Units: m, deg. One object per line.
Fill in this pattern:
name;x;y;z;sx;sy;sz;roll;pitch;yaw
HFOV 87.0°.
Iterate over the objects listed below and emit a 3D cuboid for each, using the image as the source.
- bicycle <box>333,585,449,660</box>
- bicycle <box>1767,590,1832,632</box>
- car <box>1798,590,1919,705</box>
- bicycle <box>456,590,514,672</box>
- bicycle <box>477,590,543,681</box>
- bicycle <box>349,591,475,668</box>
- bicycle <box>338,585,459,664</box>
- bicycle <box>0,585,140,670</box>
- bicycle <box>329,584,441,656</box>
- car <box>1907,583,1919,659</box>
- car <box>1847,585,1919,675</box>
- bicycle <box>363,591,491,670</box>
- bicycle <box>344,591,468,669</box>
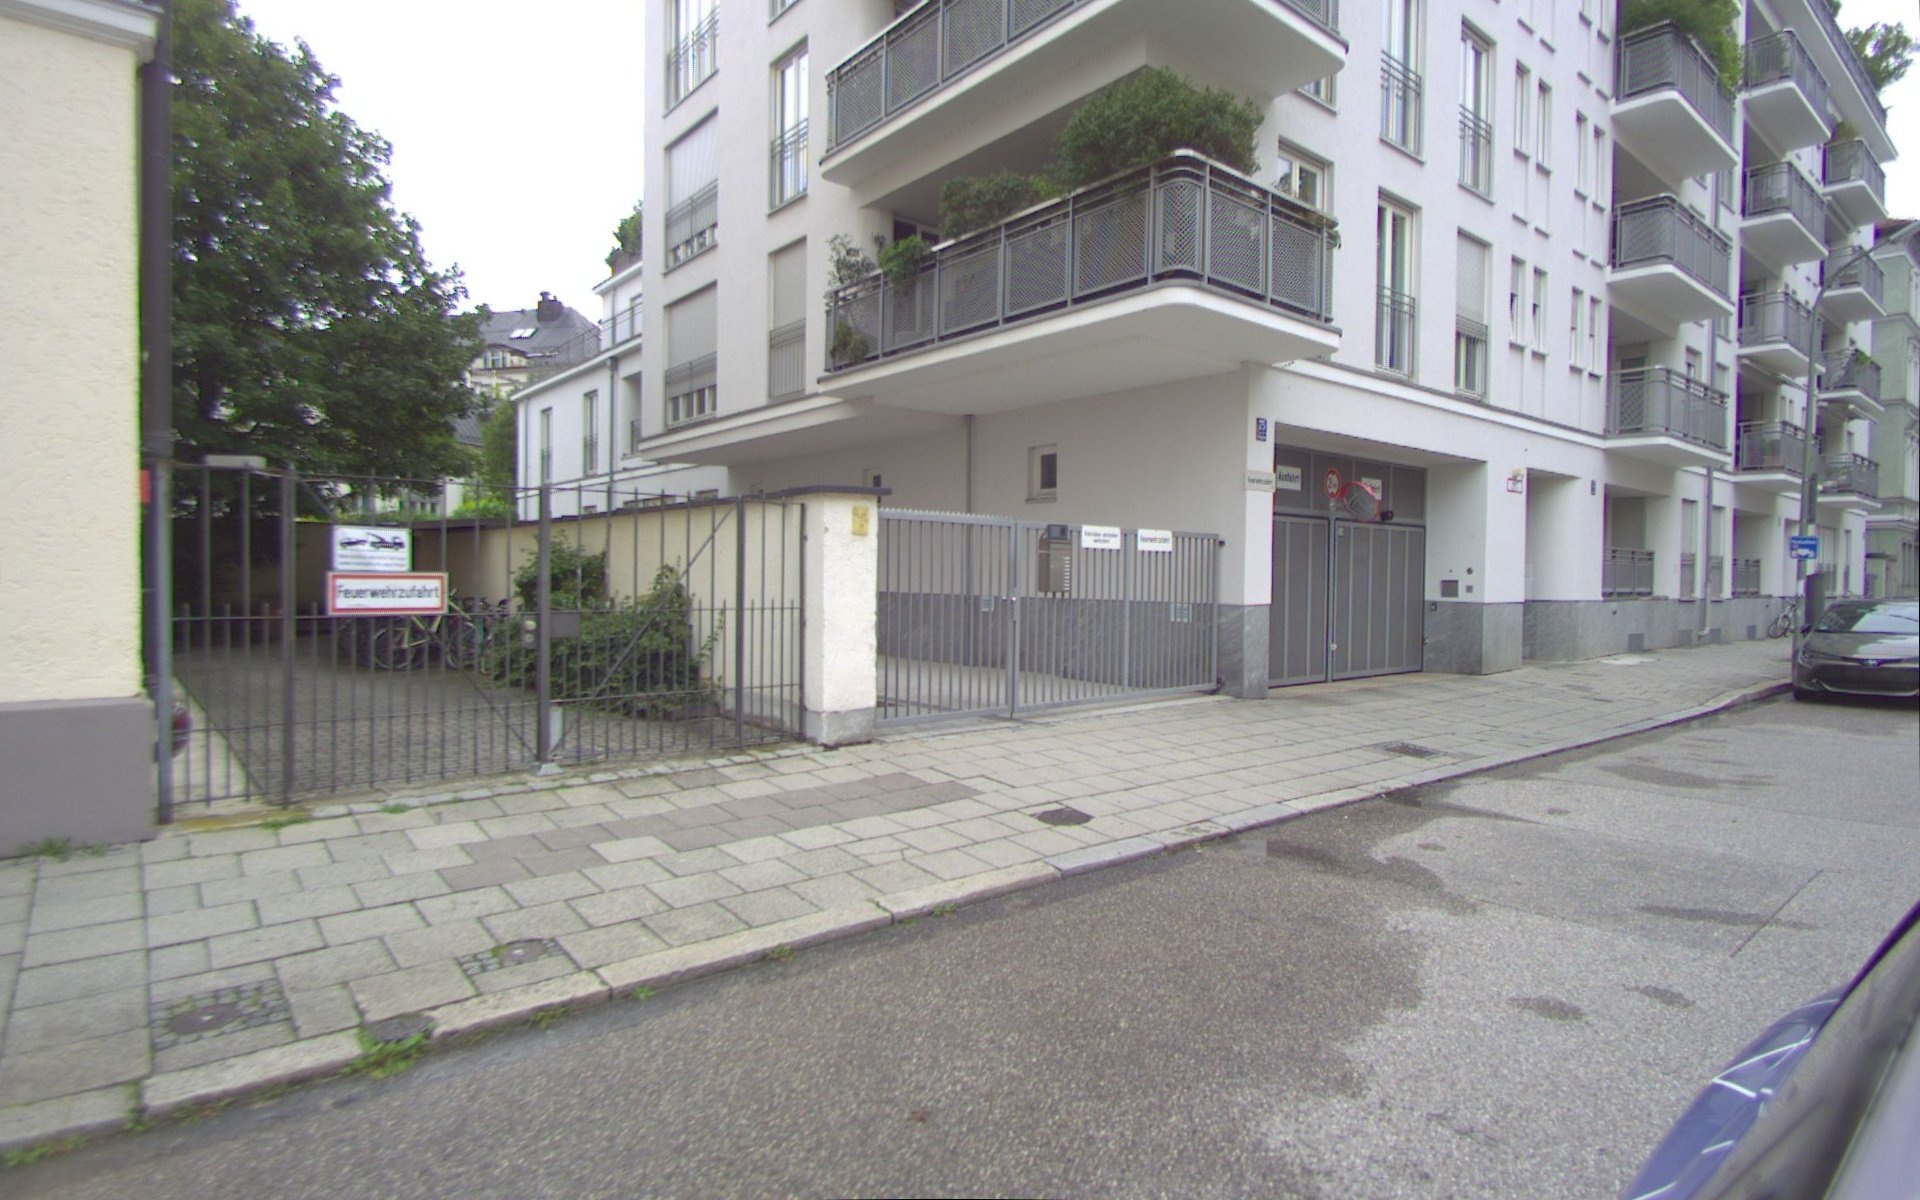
bicycle;-9.308;0.349;16.587;1.611;1.175;0.423;0;0;-39
bicycle;21.549;0.273;25.970;1.913;1.027;0.582;-1;0;-28
car;13.462;0.587;14.505;4.176;1.411;1.781;-1;2;-44
bicycle;-6.704;0.414;14.247;0.425;1.097;1.364;0;0;-39
bicycle;-5.731;0.424;12.861;0.425;1.097;1.364;0;0;-39
bicycle;-8.132;0.411;15.052;1.611;1.097;0.373;0;0;-38
bicycle;-8.764;0.355;15.825;1.611;1.175;0.423;0;0;-39
bicycle;-12.855;0.371;14.583;1.611;1.162;0.423;0;0;-39
bicycle;-9.717;0.320;17.131;1.611;1.175;0.423;0;0;-39
car;20.603;0.413;20.457;3.682;1.475;1.765;-1;2;-41
car;17.165;0.484;17.908;3.359;1.475;1.765;-1;2;-41
bicycle;-7.773;0.416;14.799;1.611;1.097;0.373;0;0;-38
bicycle;-8.432;0.433;15.443;1.611;1.130;0.373;0;0;-39
